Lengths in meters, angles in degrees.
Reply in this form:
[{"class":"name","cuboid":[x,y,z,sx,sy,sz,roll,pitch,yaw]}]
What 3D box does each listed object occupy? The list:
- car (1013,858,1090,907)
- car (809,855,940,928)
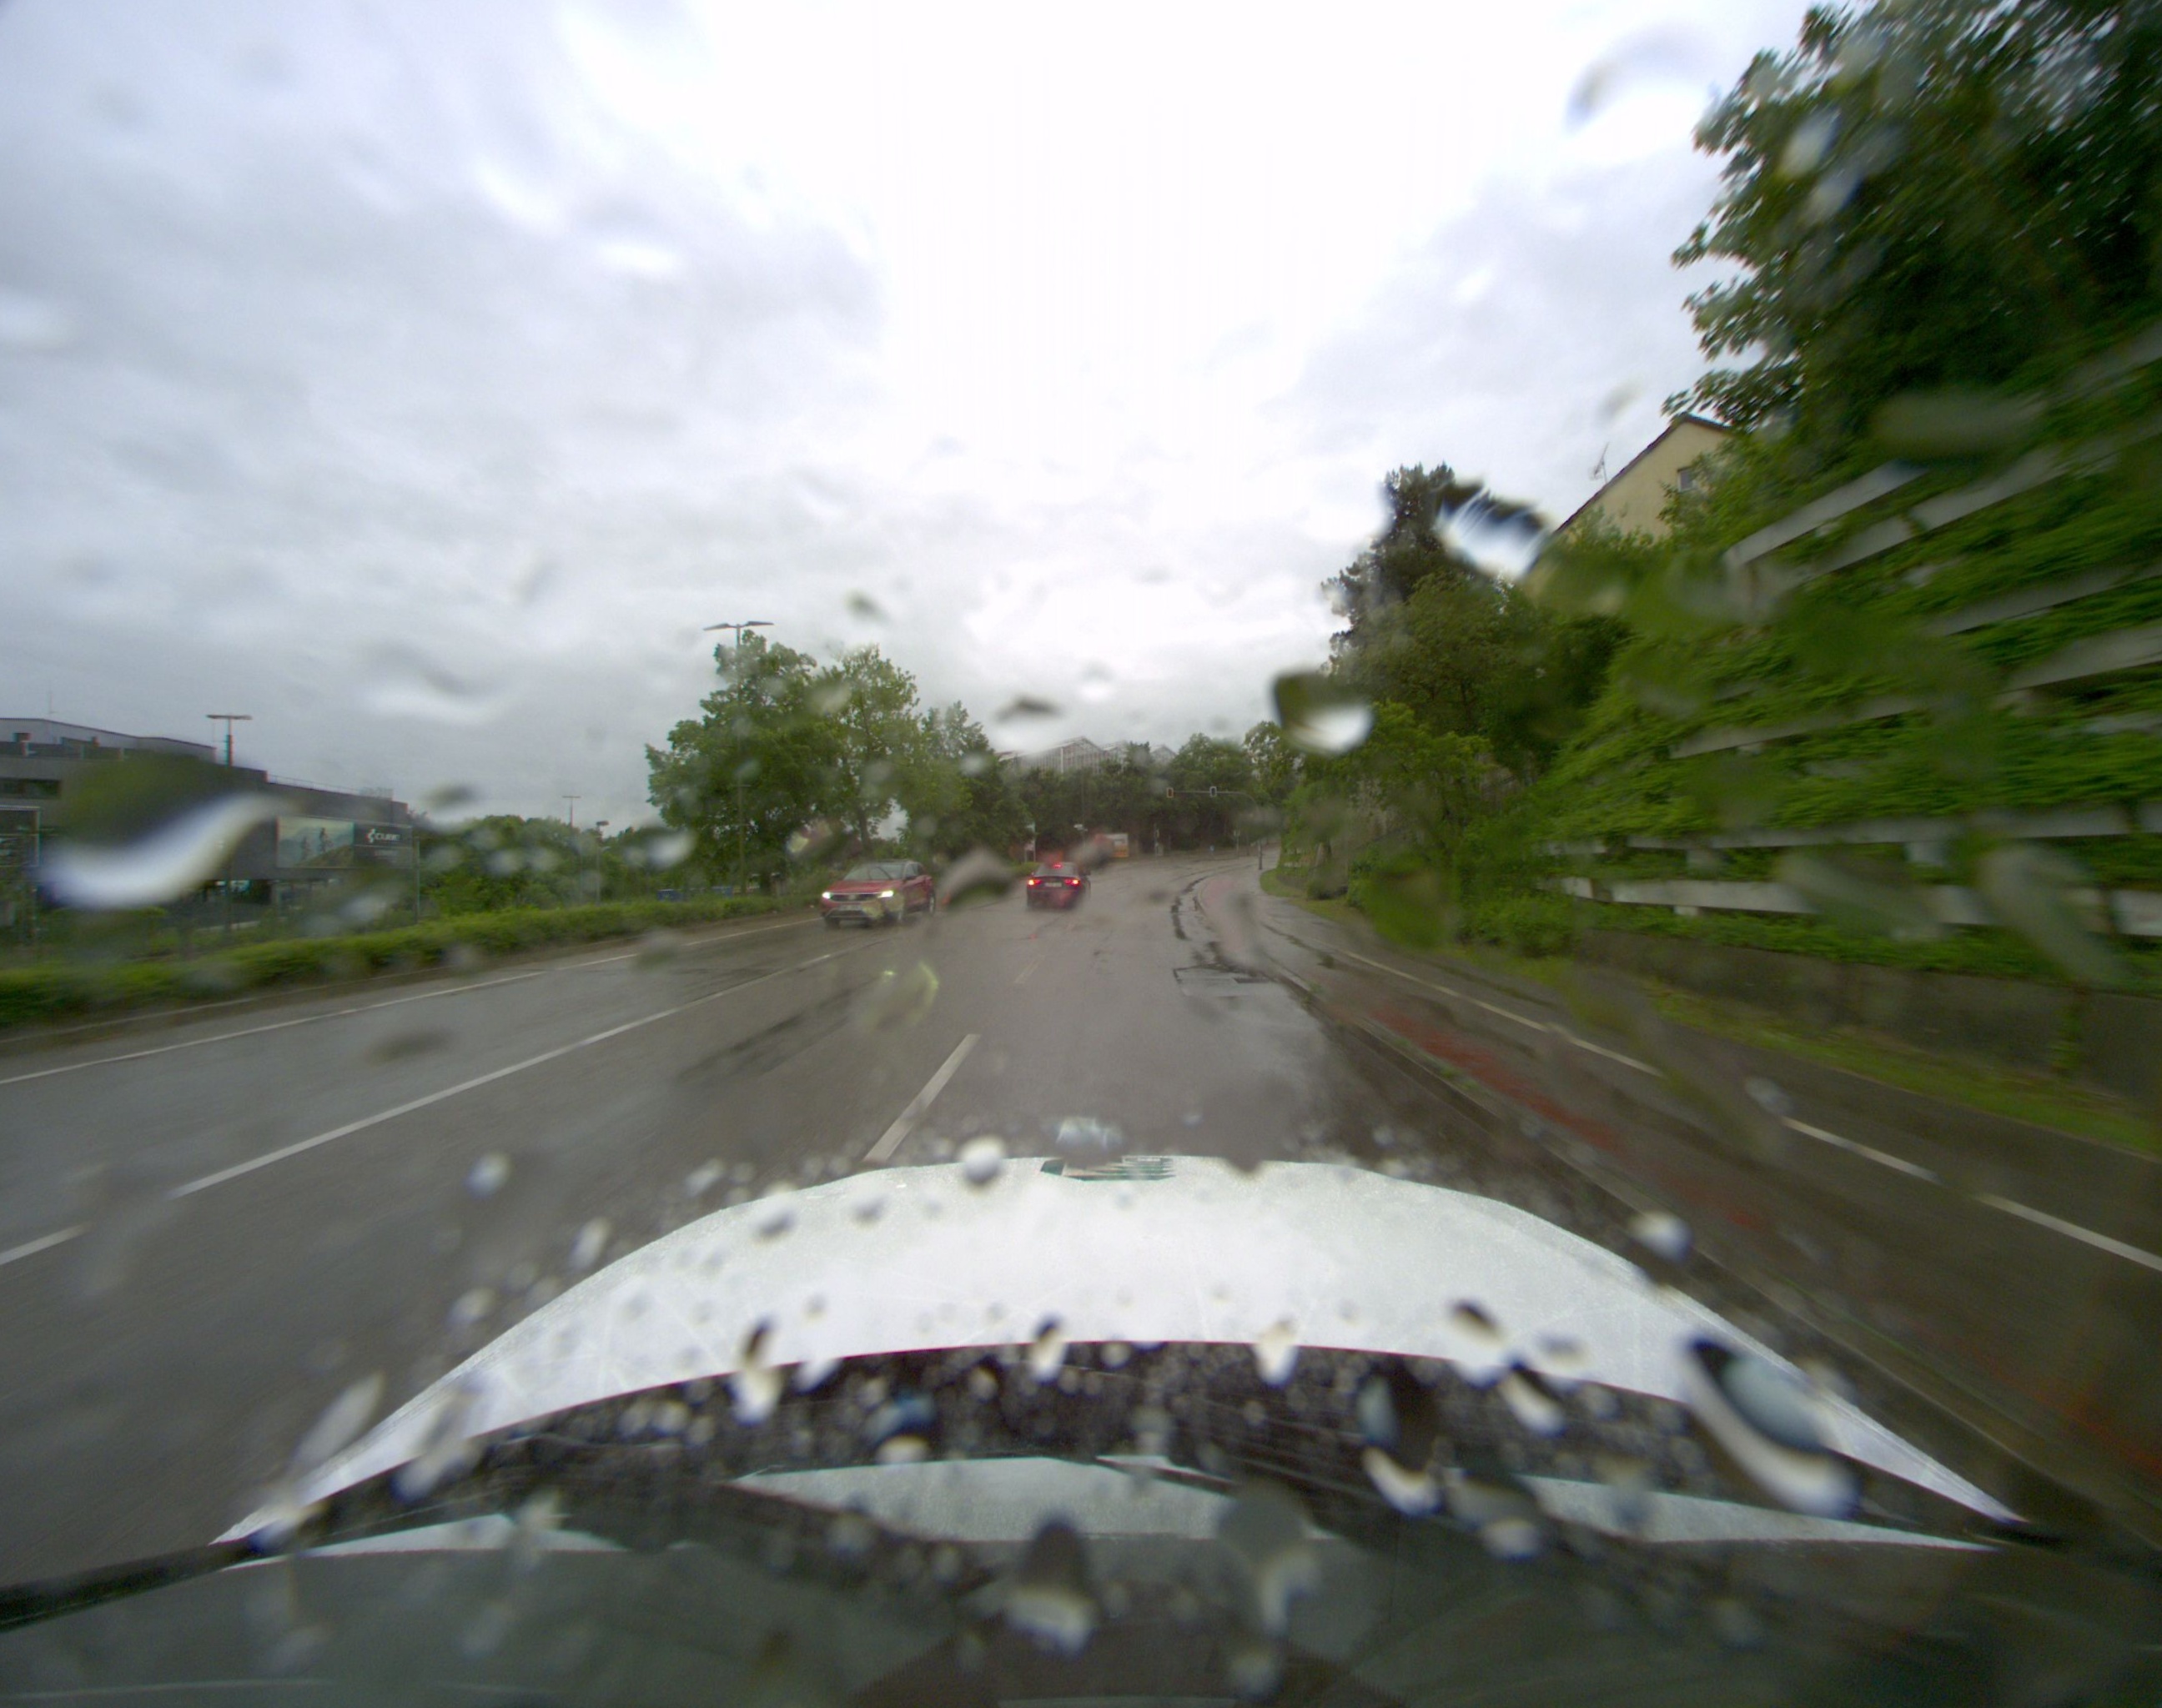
[{"class":"car","cuboid":[-0.858,0.857,26.176,1.745,1.395,4.009,0,0,8]},{"class":"car","cuboid":[-4.844,0.822,19.734,1.745,1.535,4.008,-1,0,6]}]
